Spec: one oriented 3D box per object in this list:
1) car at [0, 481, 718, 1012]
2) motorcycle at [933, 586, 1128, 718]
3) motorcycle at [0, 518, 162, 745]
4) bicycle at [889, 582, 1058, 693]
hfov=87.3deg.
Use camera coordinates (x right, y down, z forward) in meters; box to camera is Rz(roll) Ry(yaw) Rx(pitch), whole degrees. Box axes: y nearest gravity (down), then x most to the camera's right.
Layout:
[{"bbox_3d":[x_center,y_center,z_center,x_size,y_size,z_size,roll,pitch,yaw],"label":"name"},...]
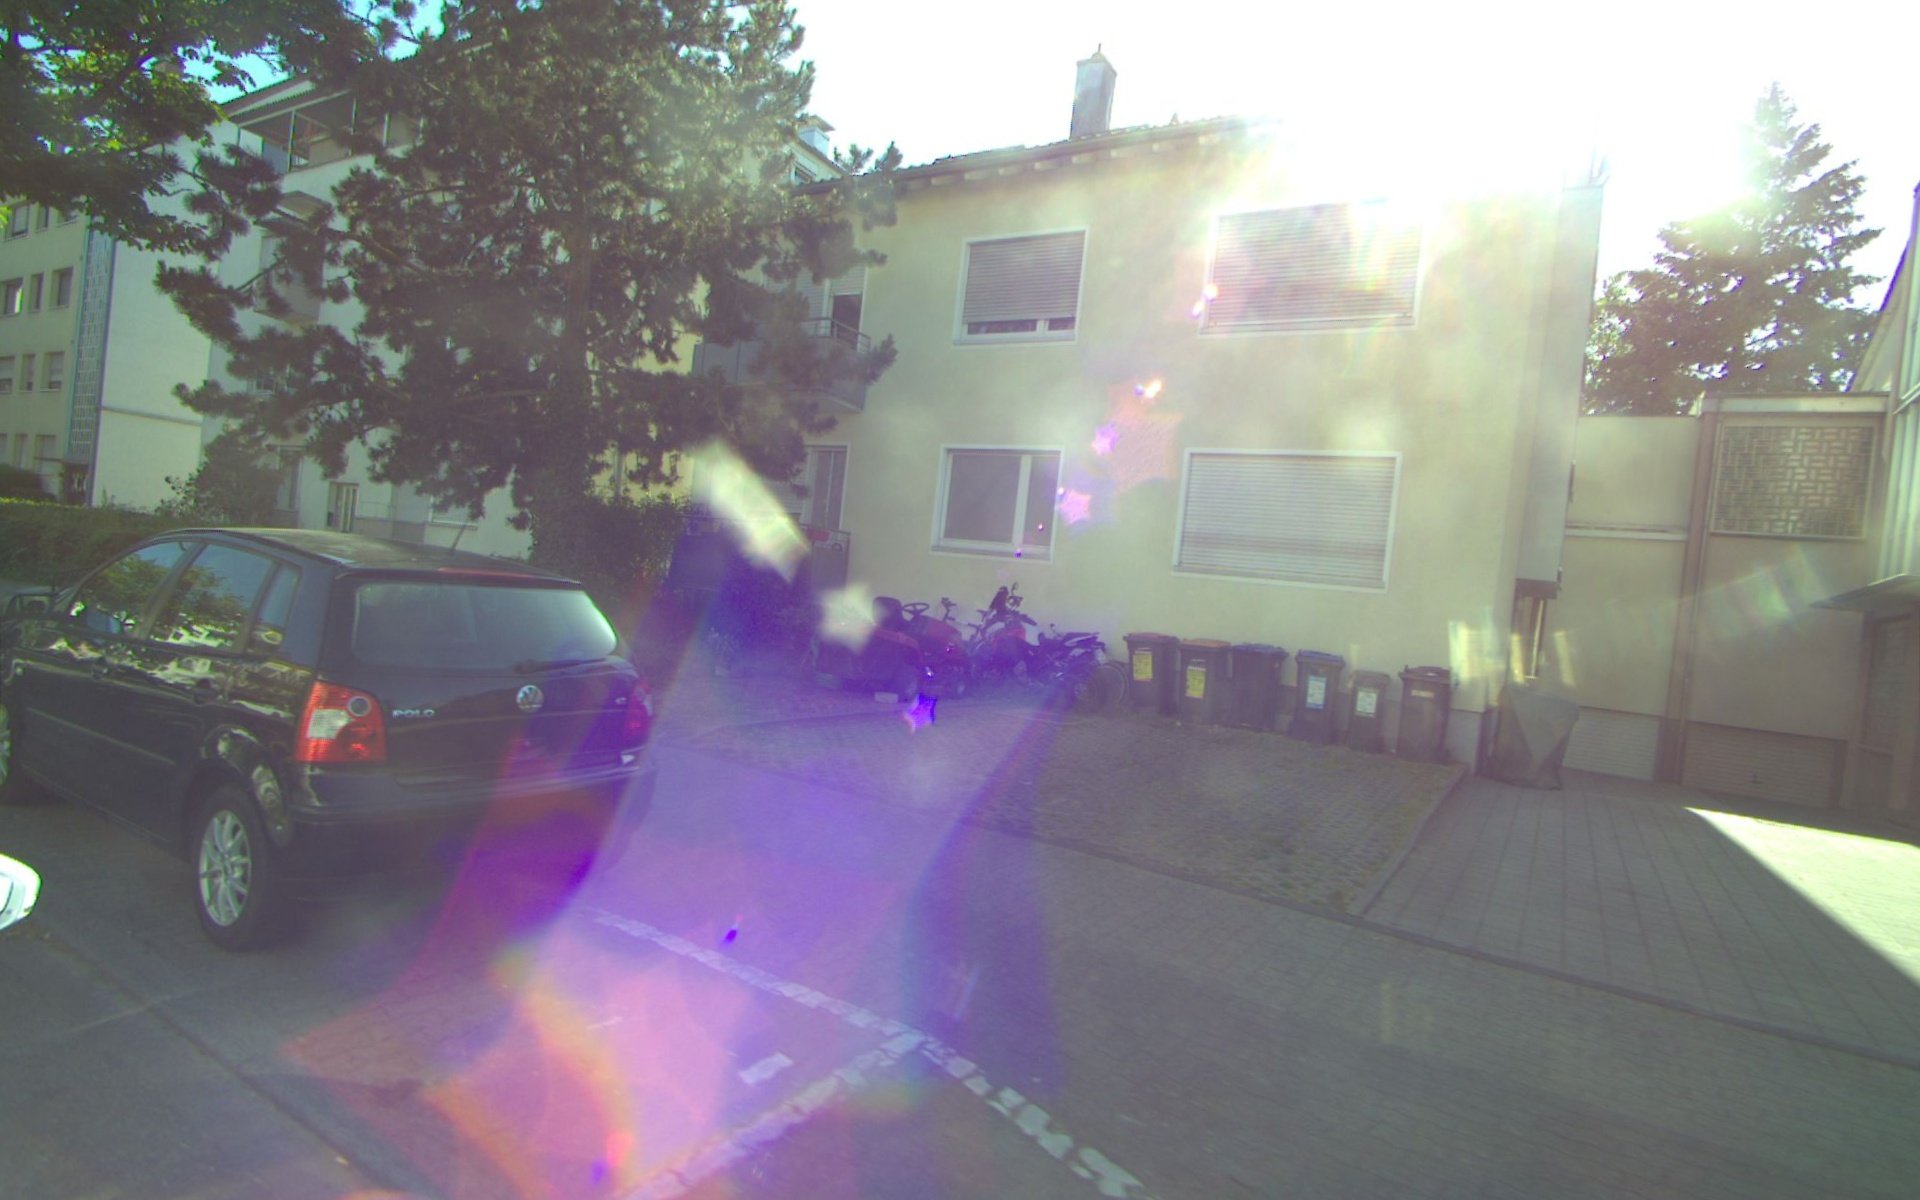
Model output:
[{"bbox_3d":[-3.064,0.374,4.725,3.589,1.518,1.621,7,1,33],"label":"car"},{"bbox_3d":[0.884,0.640,13.157,2.385,1.393,0.636,7,2,32],"label":"motorcycle"},{"bbox_3d":[-6.550,0.091,6.409,2.385,1.288,0.699,6,2,4],"label":"motorcycle"},{"bbox_3d":[0.168,0.523,14.751,2.385,1.320,0.598,7,2,32],"label":"bicycle"}]
